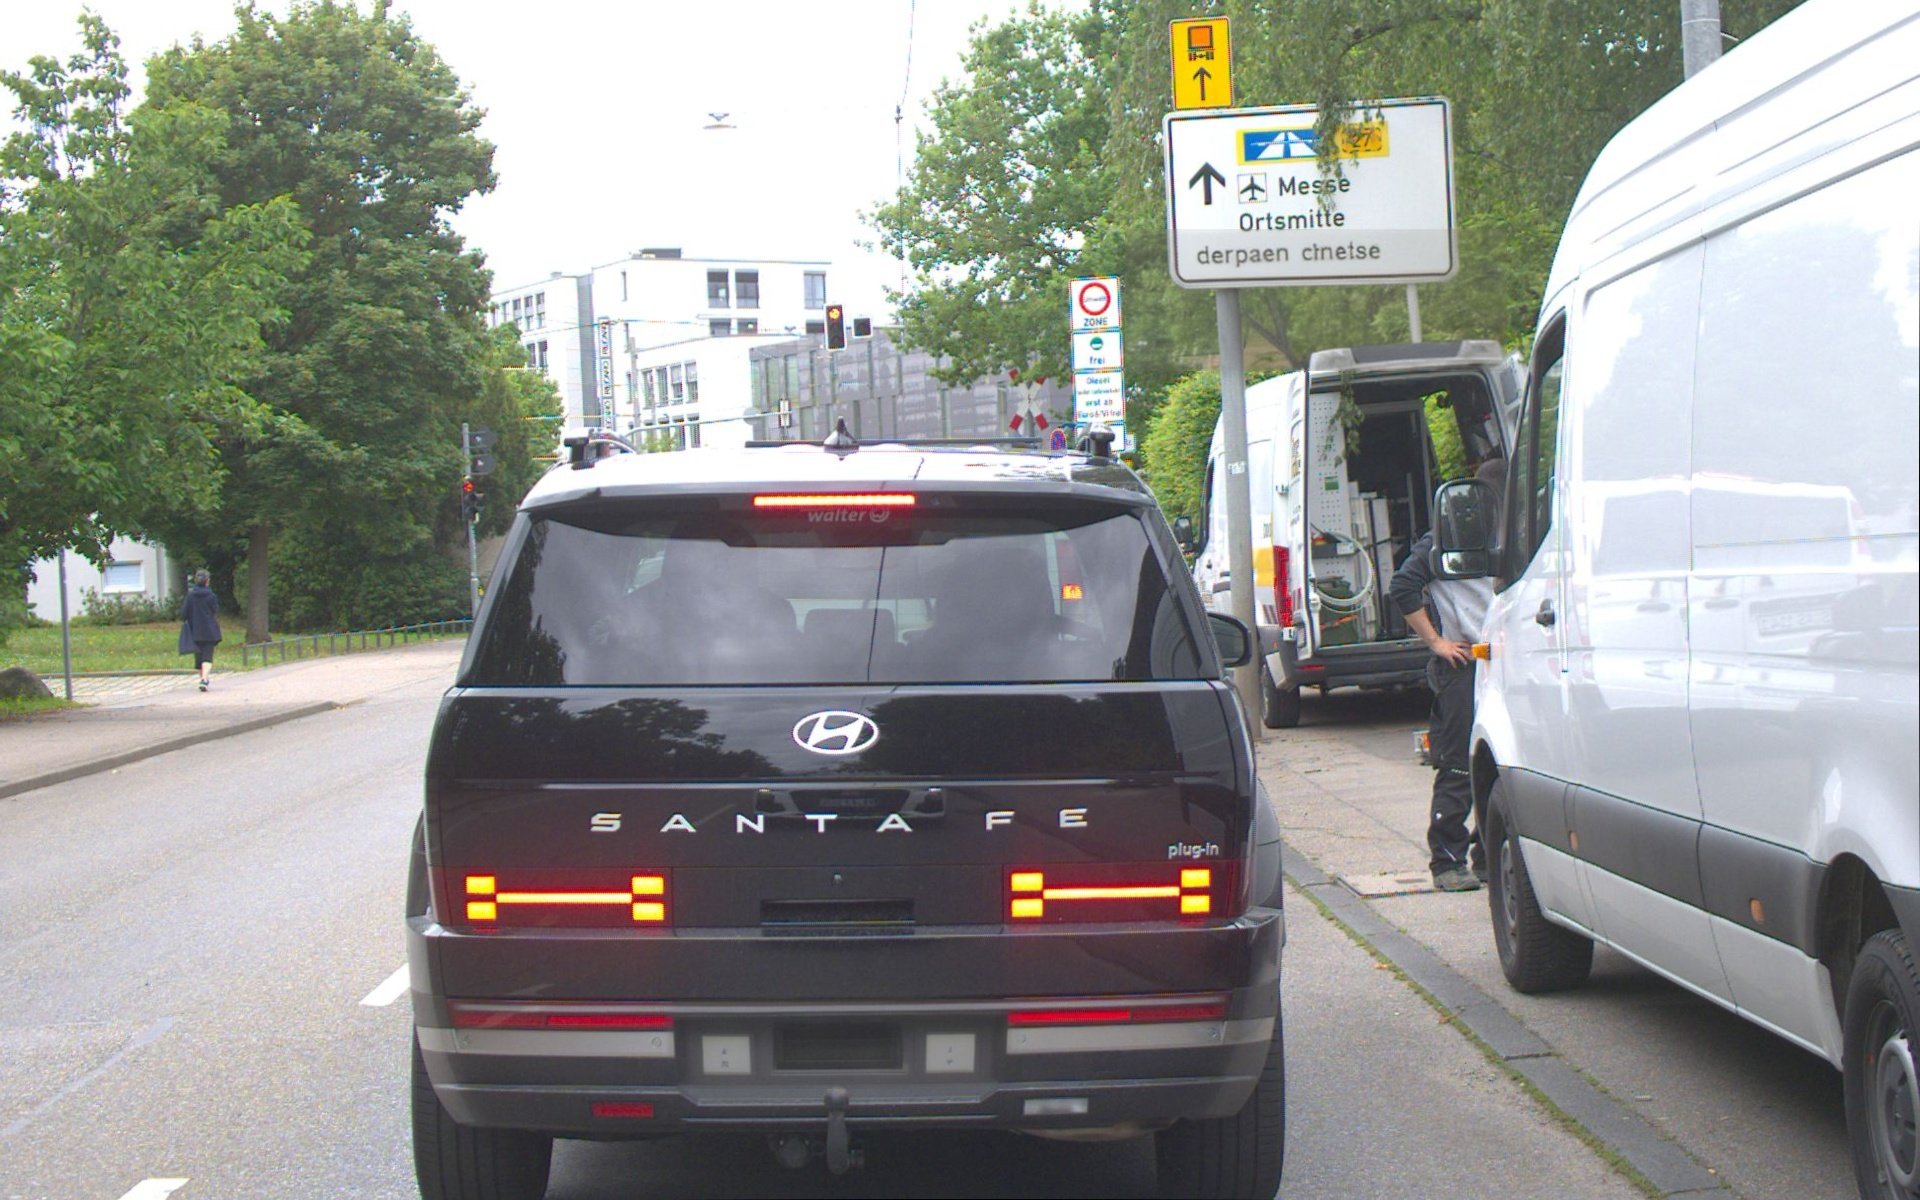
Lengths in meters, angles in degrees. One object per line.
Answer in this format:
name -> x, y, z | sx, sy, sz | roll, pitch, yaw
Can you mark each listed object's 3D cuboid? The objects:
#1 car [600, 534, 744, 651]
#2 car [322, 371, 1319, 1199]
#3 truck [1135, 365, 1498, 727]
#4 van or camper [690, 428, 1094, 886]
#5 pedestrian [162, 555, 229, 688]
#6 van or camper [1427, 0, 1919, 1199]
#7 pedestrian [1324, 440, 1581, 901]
car -> -4.513, -0.154, 54.437 | 1.859, 1.651, 4.306 | -4, 1, -1
car -> -0.286, 0.441, 8.553 | 1.889, 1.813, 4.000 | 0, 1, -1
truck -> 2.770, -0.422, 27.969 | 1.942, 2.553, 5.217 | -4, 1, -4
van or camper -> -0.328, 0.223, 17.496 | 1.754, 2.007, 4.000 | -2, 1, -1
pedestrian -> -10.054, 0.269, 45.225 | 0.738, 1.709, 0.793 | -2, 1, -7
van or camper -> 2.623, -0.083, 8.141 | 1.993, 2.611, 6.541 | -2, 1, -1
pedestrian -> 1.984, 0.273, 13.945 | 0.870, 1.791, 0.760 | -2, 1, -1
